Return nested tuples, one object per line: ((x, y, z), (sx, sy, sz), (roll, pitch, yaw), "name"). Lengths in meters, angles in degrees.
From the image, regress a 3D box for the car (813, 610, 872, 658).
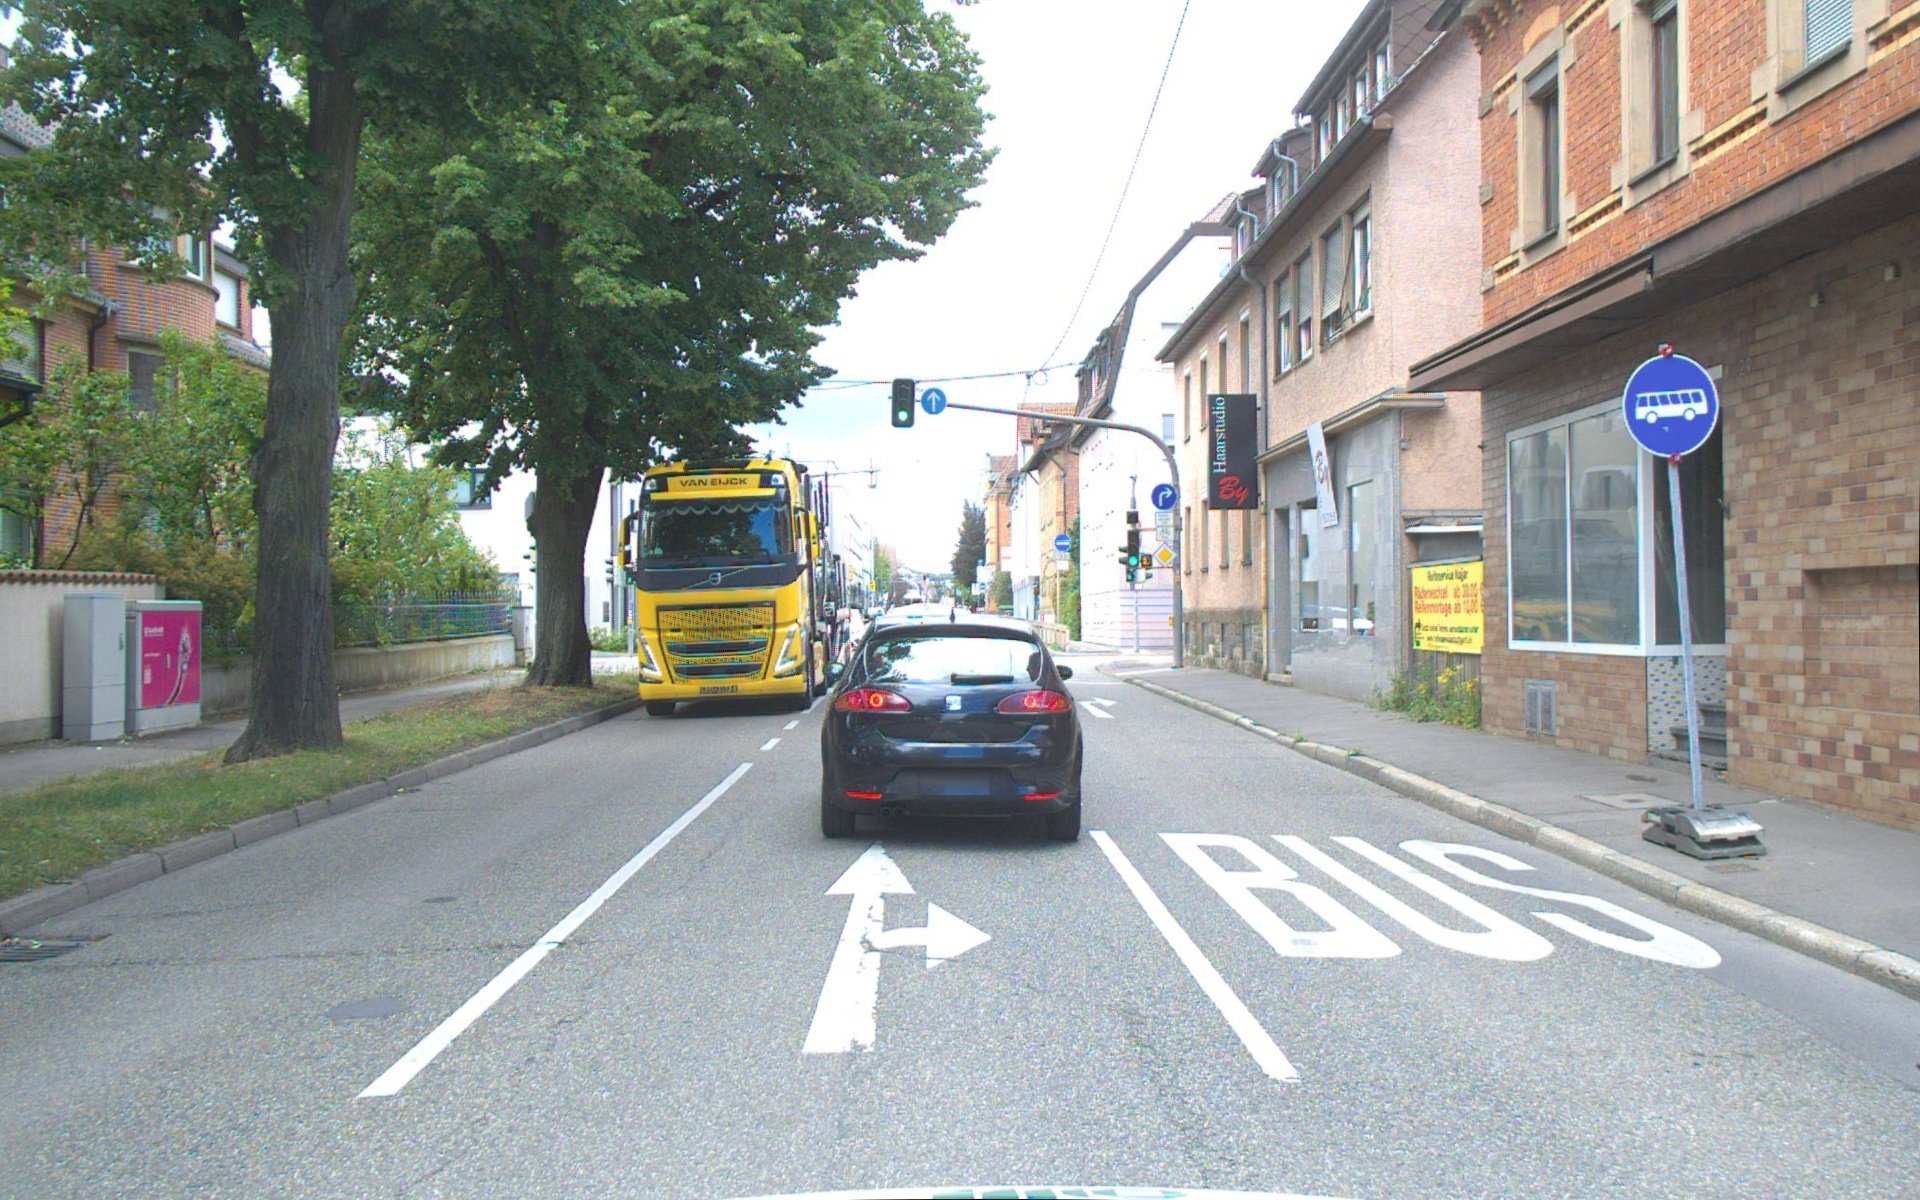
((-4.086, 1.175, 58.075), (1.731, 1.495, 4.225), (-3, -1, -1), "car")

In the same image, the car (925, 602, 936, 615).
((-4.020, 1.147, 224.181), (1.500, 1.723, 3.692), (-1, 0, -2), "car")

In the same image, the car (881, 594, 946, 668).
((-1.126, 0.743, 40.285), (1.500, 1.723, 3.692), (1, -1, -2), "car")

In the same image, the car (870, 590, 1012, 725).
((-0.295, 0.769, 23.327), (1.805, 1.723, 3.998), (1, -1, -2), "car")

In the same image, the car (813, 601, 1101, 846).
((-0.055, 0.773, 11.997), (1.723, 1.467, 3.999), (1, -1, -1), "car")

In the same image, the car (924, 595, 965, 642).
((-0.620, 0.717, 63.747), (1.500, 1.723, 3.692), (1, -1, -2), "car")

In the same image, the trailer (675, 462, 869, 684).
((-3.690, -0.385, 36.208), (2.800, 3.875, 14.387), (1, -1, -1), "trailer")

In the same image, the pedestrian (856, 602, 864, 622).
((-8.652, 1.047, 143.105), (0.716, 1.759, 0.859), (1, -1, -2), "pedestrian")

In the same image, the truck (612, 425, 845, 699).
((-3.543, -0.486, 27.251), (2.786, 3.849, 7.667), (1, -1, -1), "truck")

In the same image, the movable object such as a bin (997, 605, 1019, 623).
((3.937, 1.163, 135.460), (1.781, 1.462, 1.992), (1, -1, 0), "movable object such as a bin")
